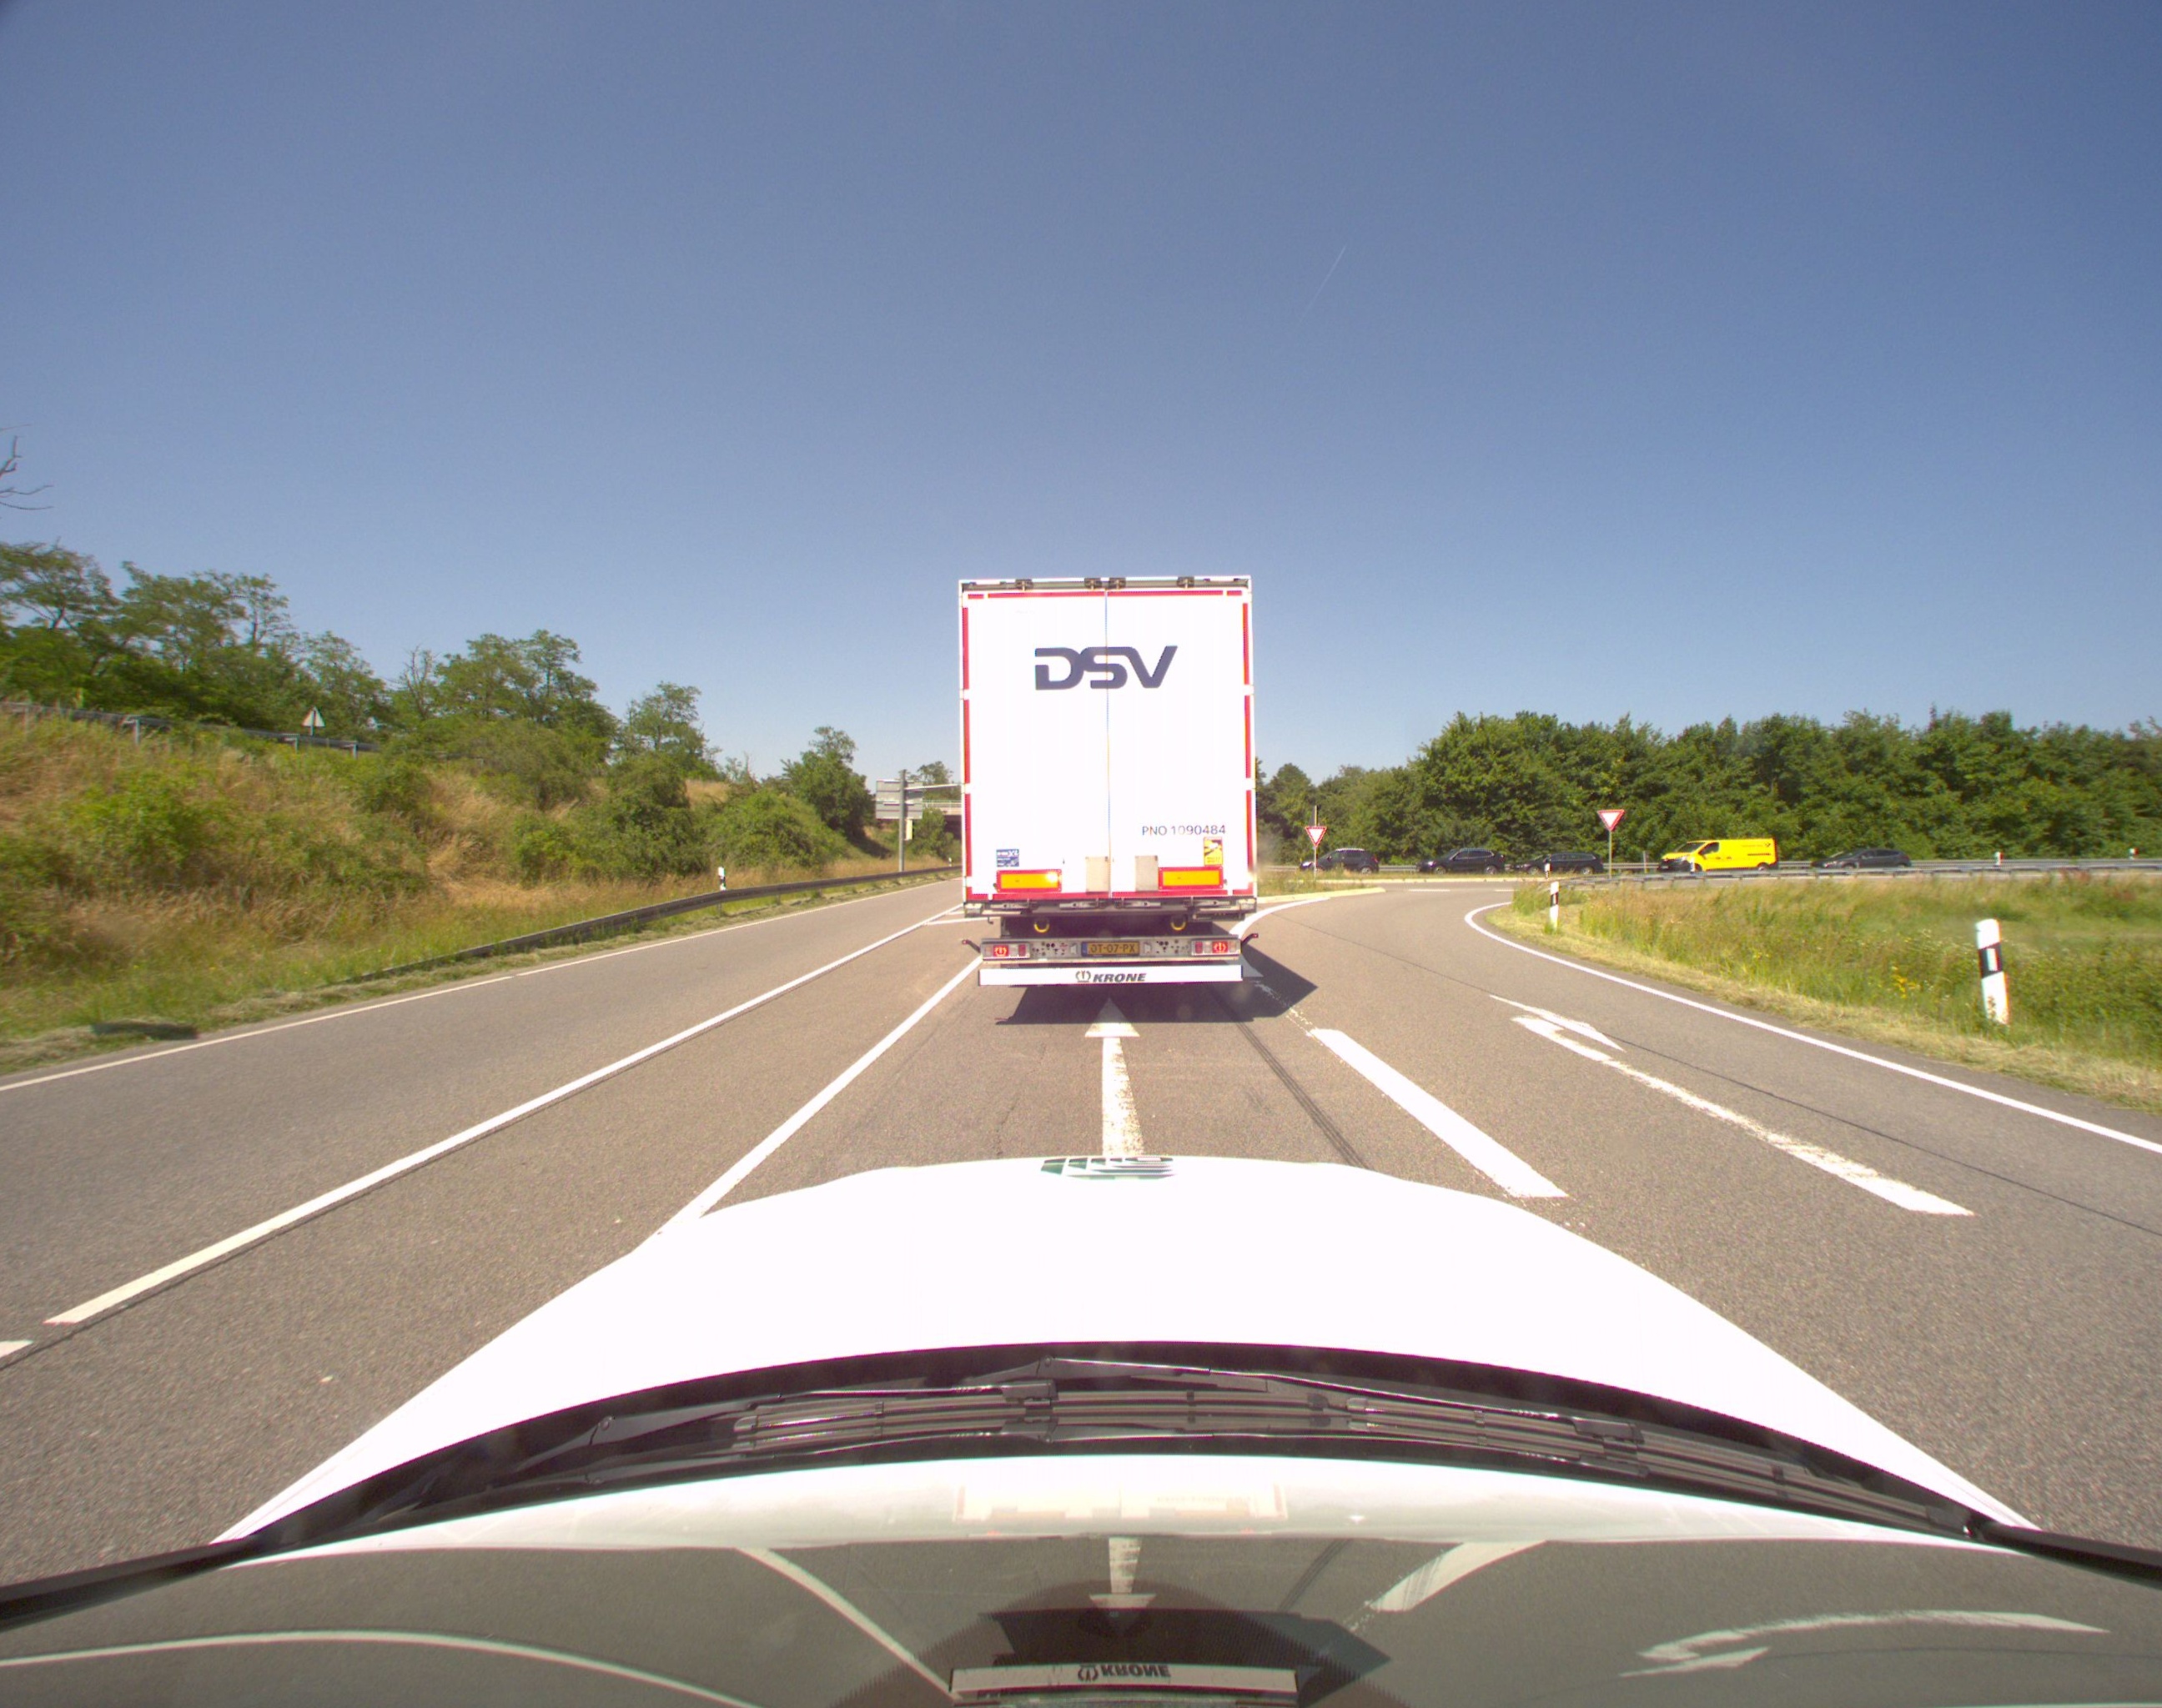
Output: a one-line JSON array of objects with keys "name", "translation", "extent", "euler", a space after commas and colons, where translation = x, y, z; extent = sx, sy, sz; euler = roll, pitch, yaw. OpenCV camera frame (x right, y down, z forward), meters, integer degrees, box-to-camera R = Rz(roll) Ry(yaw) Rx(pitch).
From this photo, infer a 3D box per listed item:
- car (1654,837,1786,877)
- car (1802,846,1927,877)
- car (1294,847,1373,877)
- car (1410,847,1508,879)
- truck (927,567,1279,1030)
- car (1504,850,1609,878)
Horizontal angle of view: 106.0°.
[{"name": "car", "translation": [33.648, 0.178, 43.004], "extent": [5.300, 2.014, 2.001], "euler": [-1, -1, 2]}, {"name": "car", "translation": [41.195, 0.390, 42.893], "extent": [4.662, 1.514, 1.855], "euler": [-1, -1, 3]}, {"name": "car", "translation": [14.181, 0.463, 45.906], "extent": [3.964, 1.640, 1.845], "euler": [-1, -1, 7]}, {"name": "car", "translation": [20.236, 0.483, 43.724], "extent": [4.466, 1.598, 1.769], "euler": [-1, -1, 4]}, {"name": "truck", "translation": [0.296, -0.452, 11.922], "extent": [2.977, 3.942, 9.877], "euler": [-1, 0, 1]}, {"name": "car", "translation": [26.200, 0.556, 44.977], "extent": [4.655, 1.514, 1.858], "euler": [-1, -1, 8]}]
